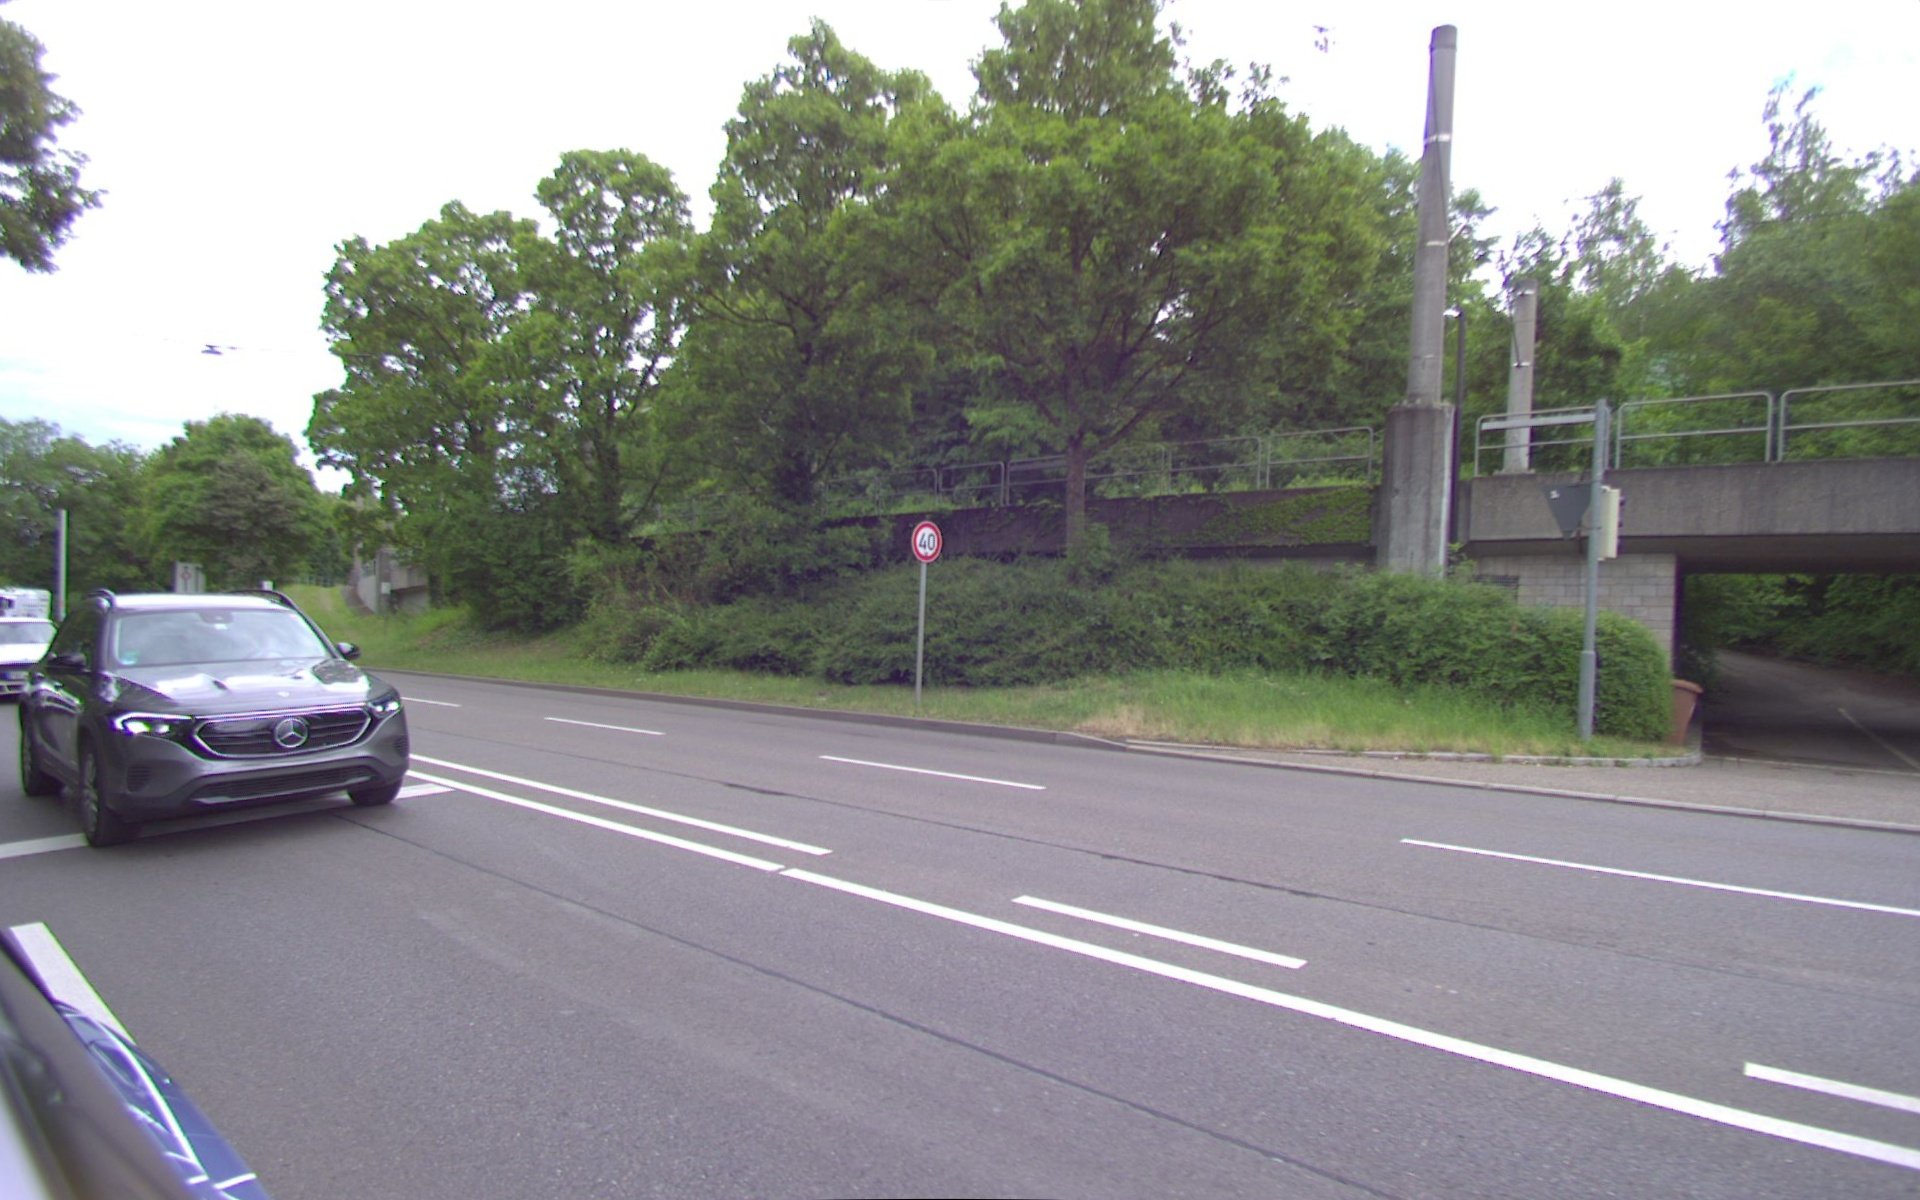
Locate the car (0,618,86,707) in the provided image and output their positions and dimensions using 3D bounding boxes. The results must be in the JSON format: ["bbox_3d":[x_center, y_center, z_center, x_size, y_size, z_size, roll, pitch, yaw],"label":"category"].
[{"bbox_3d":[-16.755,1.034,17.736,3.731,1.434,1.666,-1,-1,41],"label":"car"}]

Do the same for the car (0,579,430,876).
[{"bbox_3d":[-5.922,0.743,7.818,4.356,1.664,1.830,-1,-1,42],"label":"car"}]

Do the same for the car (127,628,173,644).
[{"bbox_3d":[-75.082,3.350,93.902,1.737,1.452,3.901,2,-3,-13],"label":"car"}]

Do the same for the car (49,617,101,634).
[{"bbox_3d":[-77.115,2.243,88.240,1.727,1.372,4.021,4,-4,-15],"label":"car"}]

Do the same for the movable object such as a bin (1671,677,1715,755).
[{"bbox_3d":[10.580,1.660,14.613,0.503,1.071,0.414,-1,-2,36],"label":"movable object such as a bin"}]

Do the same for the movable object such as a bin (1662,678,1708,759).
[{"bbox_3d":[10.084,1.638,14.072,0.503,1.071,0.414,-1,-2,36],"label":"movable object such as a bin"}]

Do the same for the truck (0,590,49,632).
[{"bbox_3d":[-74.559,0.891,79.106,2.164,3.180,6.670,2,-3,-17],"label":"truck"}]
